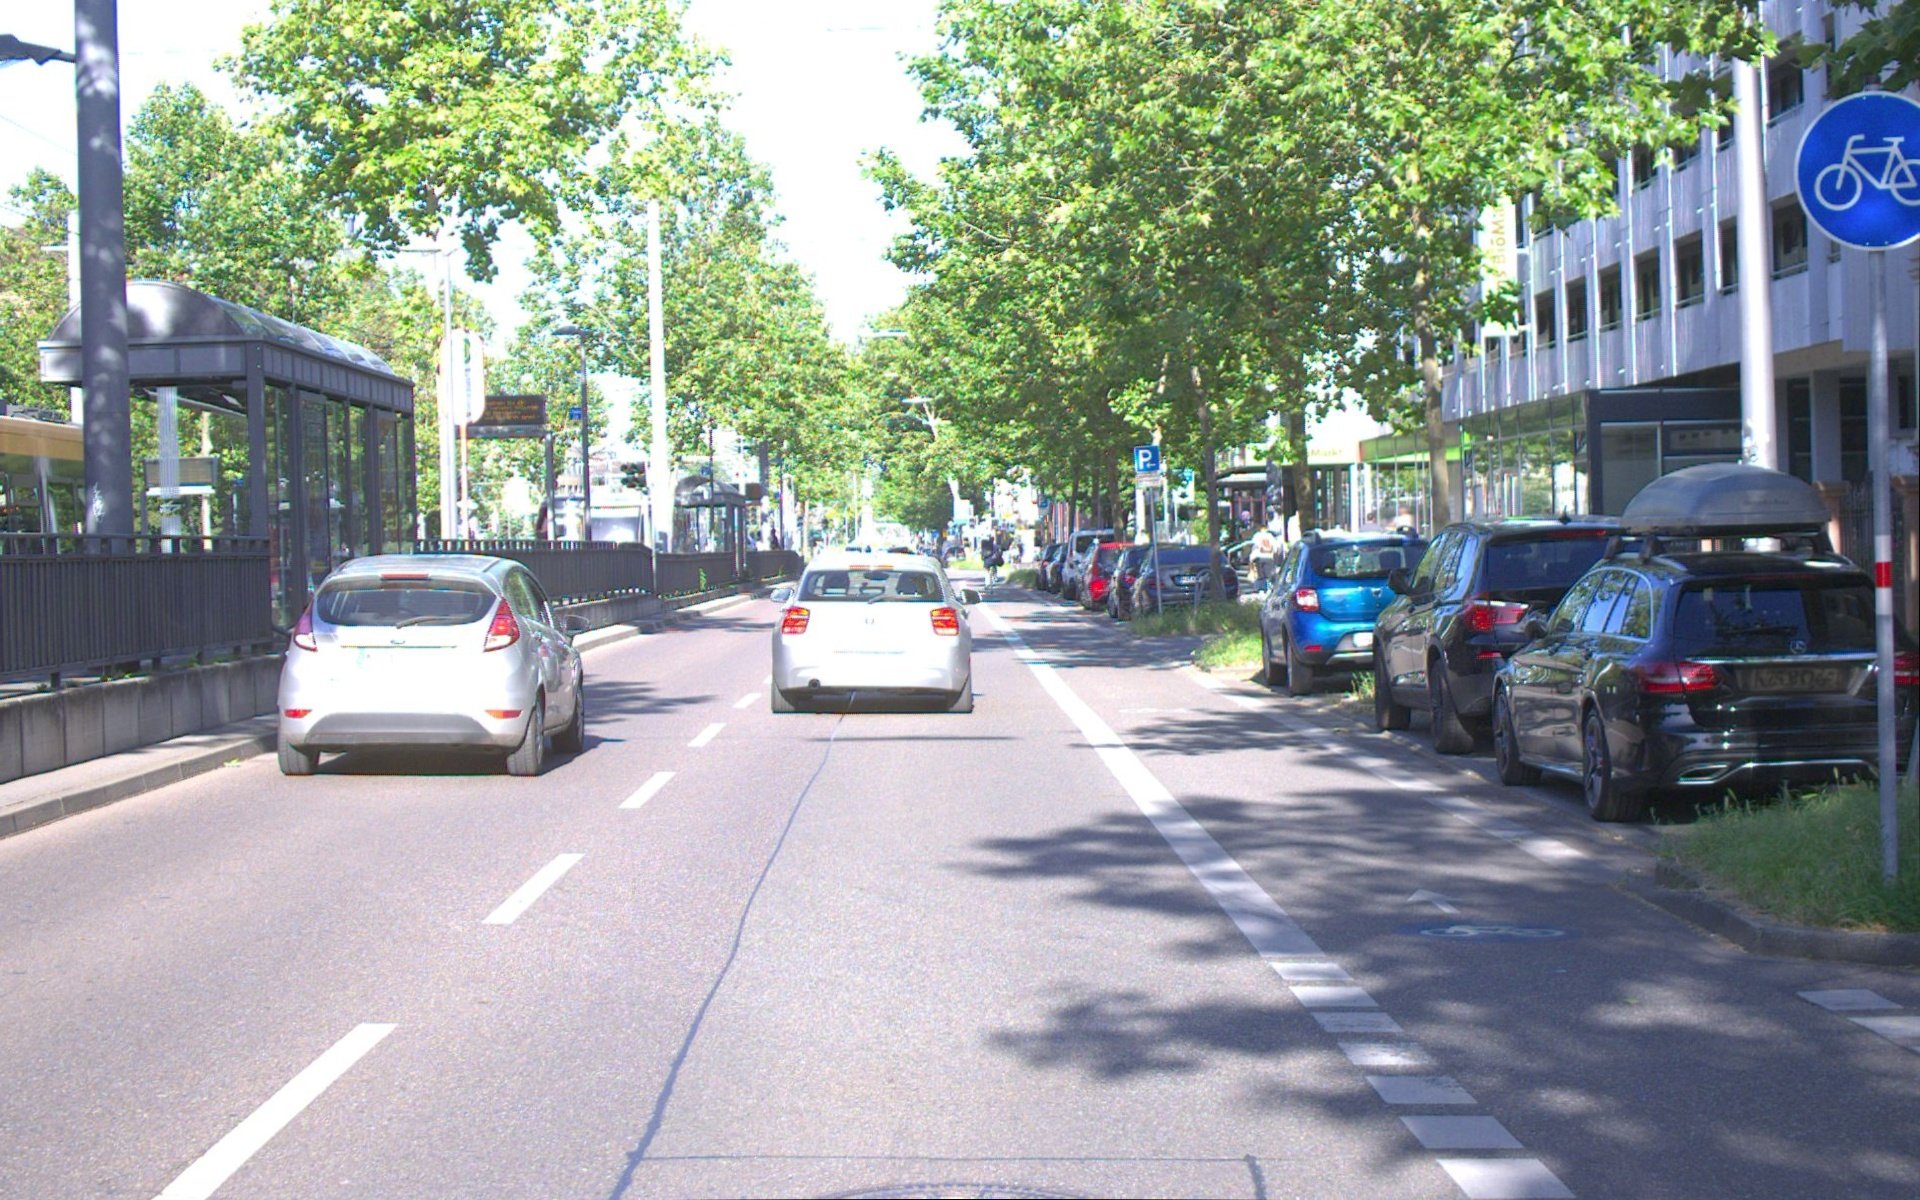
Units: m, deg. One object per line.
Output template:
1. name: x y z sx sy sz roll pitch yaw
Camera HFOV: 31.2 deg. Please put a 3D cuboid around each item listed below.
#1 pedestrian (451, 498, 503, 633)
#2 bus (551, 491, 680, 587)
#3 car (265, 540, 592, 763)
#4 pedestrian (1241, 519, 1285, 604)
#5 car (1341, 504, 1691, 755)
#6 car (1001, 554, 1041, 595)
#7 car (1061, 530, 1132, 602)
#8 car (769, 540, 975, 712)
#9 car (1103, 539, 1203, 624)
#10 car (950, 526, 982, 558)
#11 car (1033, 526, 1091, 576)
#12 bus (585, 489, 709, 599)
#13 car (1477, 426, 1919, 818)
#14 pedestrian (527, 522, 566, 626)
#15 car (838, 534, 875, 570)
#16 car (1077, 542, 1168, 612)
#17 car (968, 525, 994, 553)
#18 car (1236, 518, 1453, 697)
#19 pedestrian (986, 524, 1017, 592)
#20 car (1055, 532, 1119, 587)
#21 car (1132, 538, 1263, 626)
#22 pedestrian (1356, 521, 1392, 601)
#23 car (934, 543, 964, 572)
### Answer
1. pedestrian: -7.043 -0.504 50.159 0.639 1.947 0.814 0 1 0
2. bus: -14.084 -2.587 142.691 2.869 3.616 24.605 -1 1 0
3. car: -3.537 0.290 23.451 1.646 1.358 3.760 0 1 0
4. pedestrian: 7.231 -0.922 82.051 0.963 2.007 0.938 0 1 0
5. car: 4.036 0.157 25.698 1.798 1.694 4.738 0 1 -1
6. car: 3.105 -1.315 175.820 1.993 2.007 4.000 0 1 0
7. car: 3.635 -0.910 92.204 1.724 1.874 4.000 0 1 0
8. car: -0.796 0.192 31.532 1.762 1.427 4.001 0 1 -1
9. car: 3.702 -0.388 66.417 1.669 1.546 4.000 0 1 0
10. car: 0.376 -3.806 225.419 1.993 2.007 4.000 -1 1 0
11. car: 3.188 -1.557 108.417 1.700 1.529 3.717 0 1 0
12. bus: -11.097 -2.066 123.800 2.750 3.613 18.848 -1 1 0
13. car: 4.229 0.054 19.703 1.754 1.958 4.738 -1 1 -1
14. pedestrian: -7.779 -0.498 64.715 0.639 1.947 0.814 0 1 0
15. car: -6.050 -2.822 201.461 1.993 2.007 4.000 0 1 0
16. car: 3.603 -0.513 76.714 1.806 1.515 4.000 0 0 0
17. car: 1.517 -4.441 248.671 1.875 2.007 3.711 0 1 0
18. car: 3.875 0.023 35.188 1.692 1.652 4.040 -1 2 -1
19. pedestrian: 1.235 -1.253 102.342 0.838 2.007 0.648 1 1 7
20. car: 3.722 -1.211 101.357 1.711 1.557 4.000 0 1 0
21. car: 4.181 -0.319 61.212 1.993 1.504 4.598 0 0 0
22. pedestrian: 10.356 -0.978 86.060 0.788 2.007 0.891 0 1 0
23. car: -0.746 -2.941 237.893 2.071 2.007 4.000 0 1 0
